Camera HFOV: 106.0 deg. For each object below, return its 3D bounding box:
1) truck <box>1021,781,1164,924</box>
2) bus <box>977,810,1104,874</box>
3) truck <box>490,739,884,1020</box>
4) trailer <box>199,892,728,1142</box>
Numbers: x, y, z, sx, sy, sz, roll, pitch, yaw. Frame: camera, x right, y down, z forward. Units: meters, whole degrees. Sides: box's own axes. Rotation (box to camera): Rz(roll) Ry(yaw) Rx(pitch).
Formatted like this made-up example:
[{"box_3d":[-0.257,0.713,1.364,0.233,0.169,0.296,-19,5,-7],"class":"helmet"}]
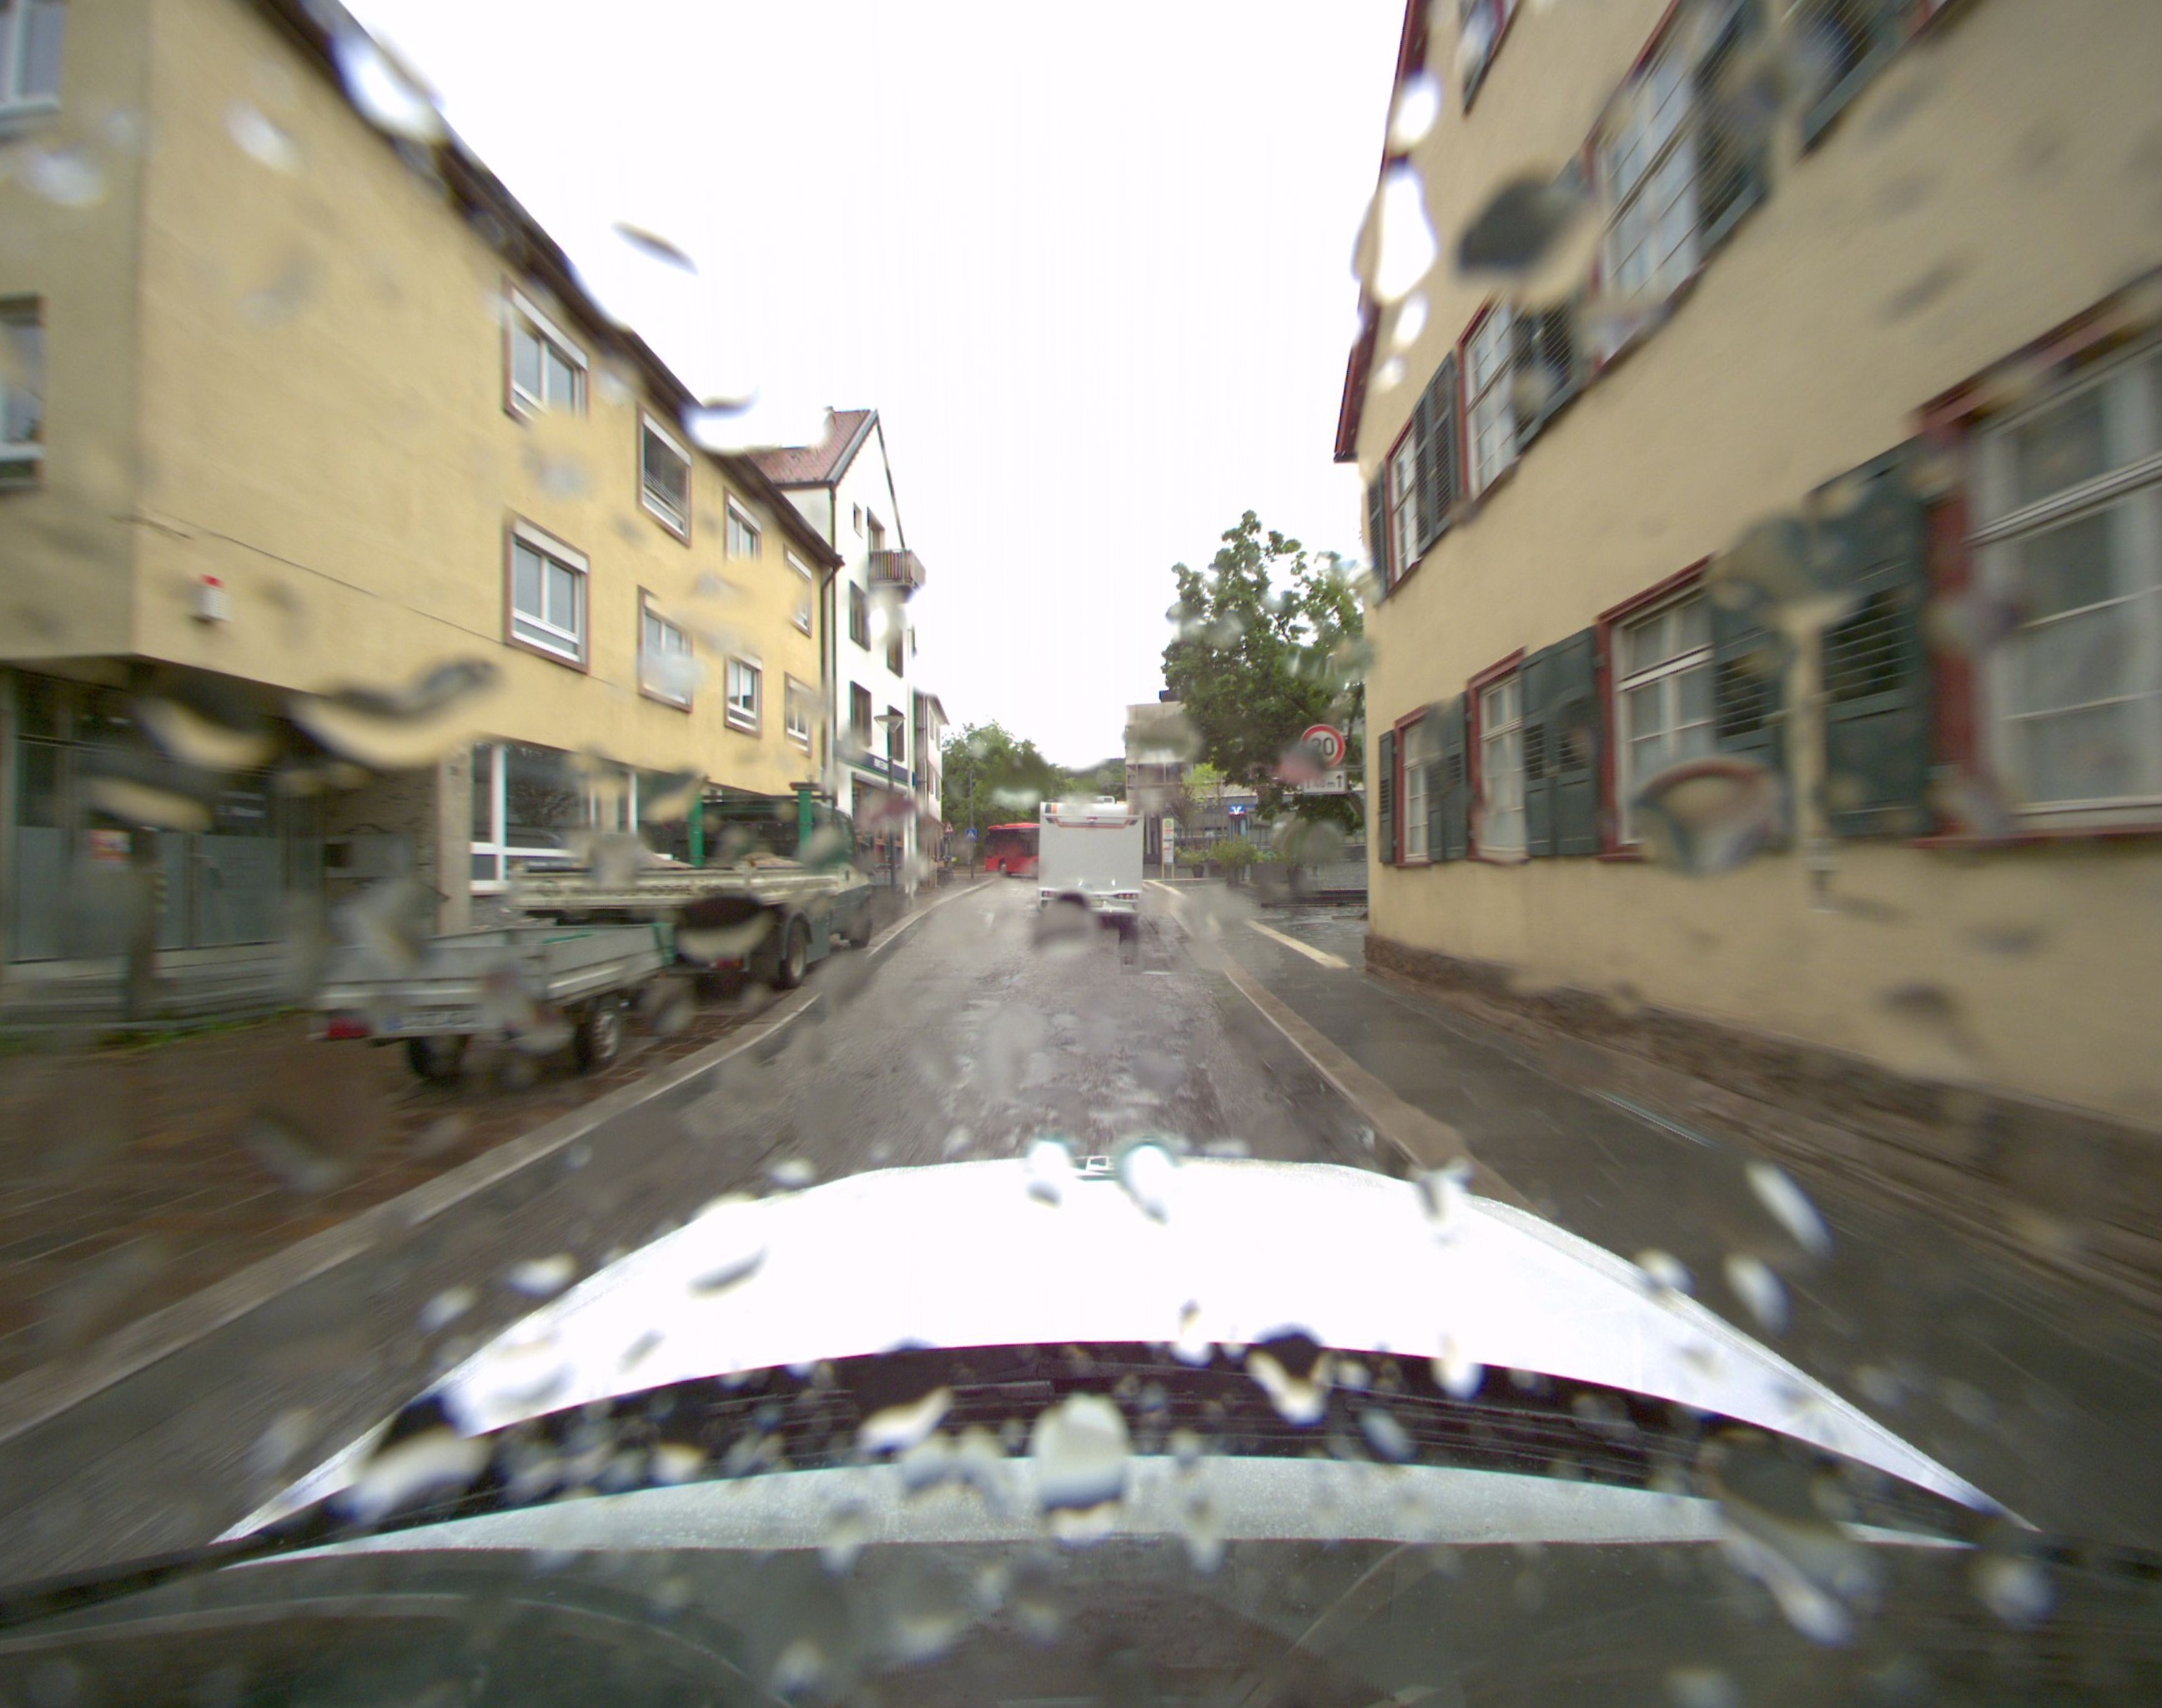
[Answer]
[{"box_3d":[0.260,-0.004,19.838,2.796,2.797,6.106,-3,-1,0],"class":"truck"},{"box_3d":[-2.621,-0.545,47.112,3.042,3.146,10.050,-3,-1,-30],"class":"bus"},{"box_3d":[-4.494,0.125,10.972,2.394,2.594,6.475,-2,2,-4],"class":"truck"},{"box_3d":[-4.201,1.006,6.234,1.849,1.124,3.014,-2,2,-5],"class":"trailer"}]
